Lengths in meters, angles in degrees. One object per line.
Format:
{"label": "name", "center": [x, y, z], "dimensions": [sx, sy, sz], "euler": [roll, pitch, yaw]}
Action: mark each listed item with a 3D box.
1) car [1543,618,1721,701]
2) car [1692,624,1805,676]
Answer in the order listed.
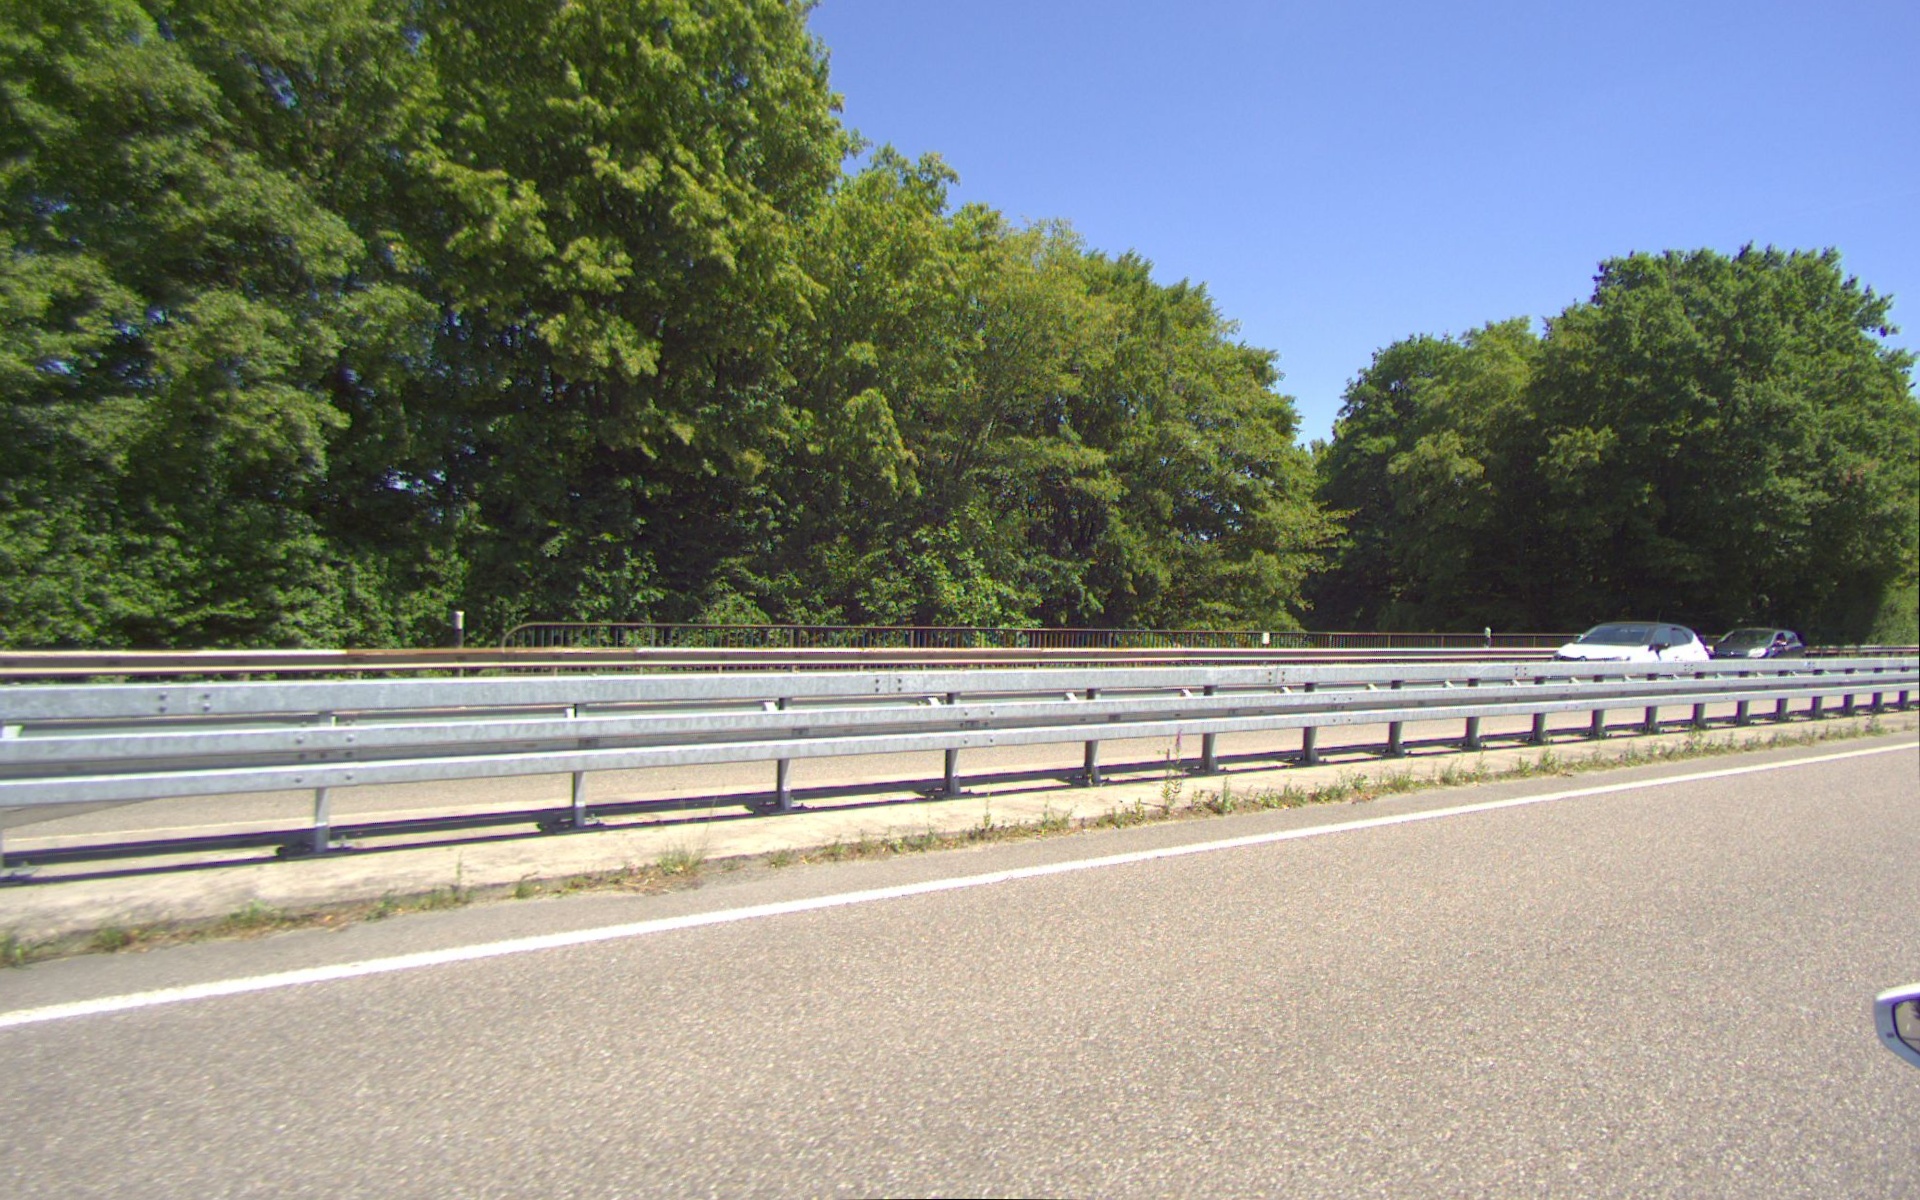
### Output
{"label": "car", "center": [14.481, 1.227, 21.578], "dimensions": [4.173, 1.628, 1.642], "euler": [1, -1, -32]}
{"label": "car", "center": [25.309, 1.582, 32.201], "dimensions": [3.954, 1.549, 1.642], "euler": [1, -1, -32]}
